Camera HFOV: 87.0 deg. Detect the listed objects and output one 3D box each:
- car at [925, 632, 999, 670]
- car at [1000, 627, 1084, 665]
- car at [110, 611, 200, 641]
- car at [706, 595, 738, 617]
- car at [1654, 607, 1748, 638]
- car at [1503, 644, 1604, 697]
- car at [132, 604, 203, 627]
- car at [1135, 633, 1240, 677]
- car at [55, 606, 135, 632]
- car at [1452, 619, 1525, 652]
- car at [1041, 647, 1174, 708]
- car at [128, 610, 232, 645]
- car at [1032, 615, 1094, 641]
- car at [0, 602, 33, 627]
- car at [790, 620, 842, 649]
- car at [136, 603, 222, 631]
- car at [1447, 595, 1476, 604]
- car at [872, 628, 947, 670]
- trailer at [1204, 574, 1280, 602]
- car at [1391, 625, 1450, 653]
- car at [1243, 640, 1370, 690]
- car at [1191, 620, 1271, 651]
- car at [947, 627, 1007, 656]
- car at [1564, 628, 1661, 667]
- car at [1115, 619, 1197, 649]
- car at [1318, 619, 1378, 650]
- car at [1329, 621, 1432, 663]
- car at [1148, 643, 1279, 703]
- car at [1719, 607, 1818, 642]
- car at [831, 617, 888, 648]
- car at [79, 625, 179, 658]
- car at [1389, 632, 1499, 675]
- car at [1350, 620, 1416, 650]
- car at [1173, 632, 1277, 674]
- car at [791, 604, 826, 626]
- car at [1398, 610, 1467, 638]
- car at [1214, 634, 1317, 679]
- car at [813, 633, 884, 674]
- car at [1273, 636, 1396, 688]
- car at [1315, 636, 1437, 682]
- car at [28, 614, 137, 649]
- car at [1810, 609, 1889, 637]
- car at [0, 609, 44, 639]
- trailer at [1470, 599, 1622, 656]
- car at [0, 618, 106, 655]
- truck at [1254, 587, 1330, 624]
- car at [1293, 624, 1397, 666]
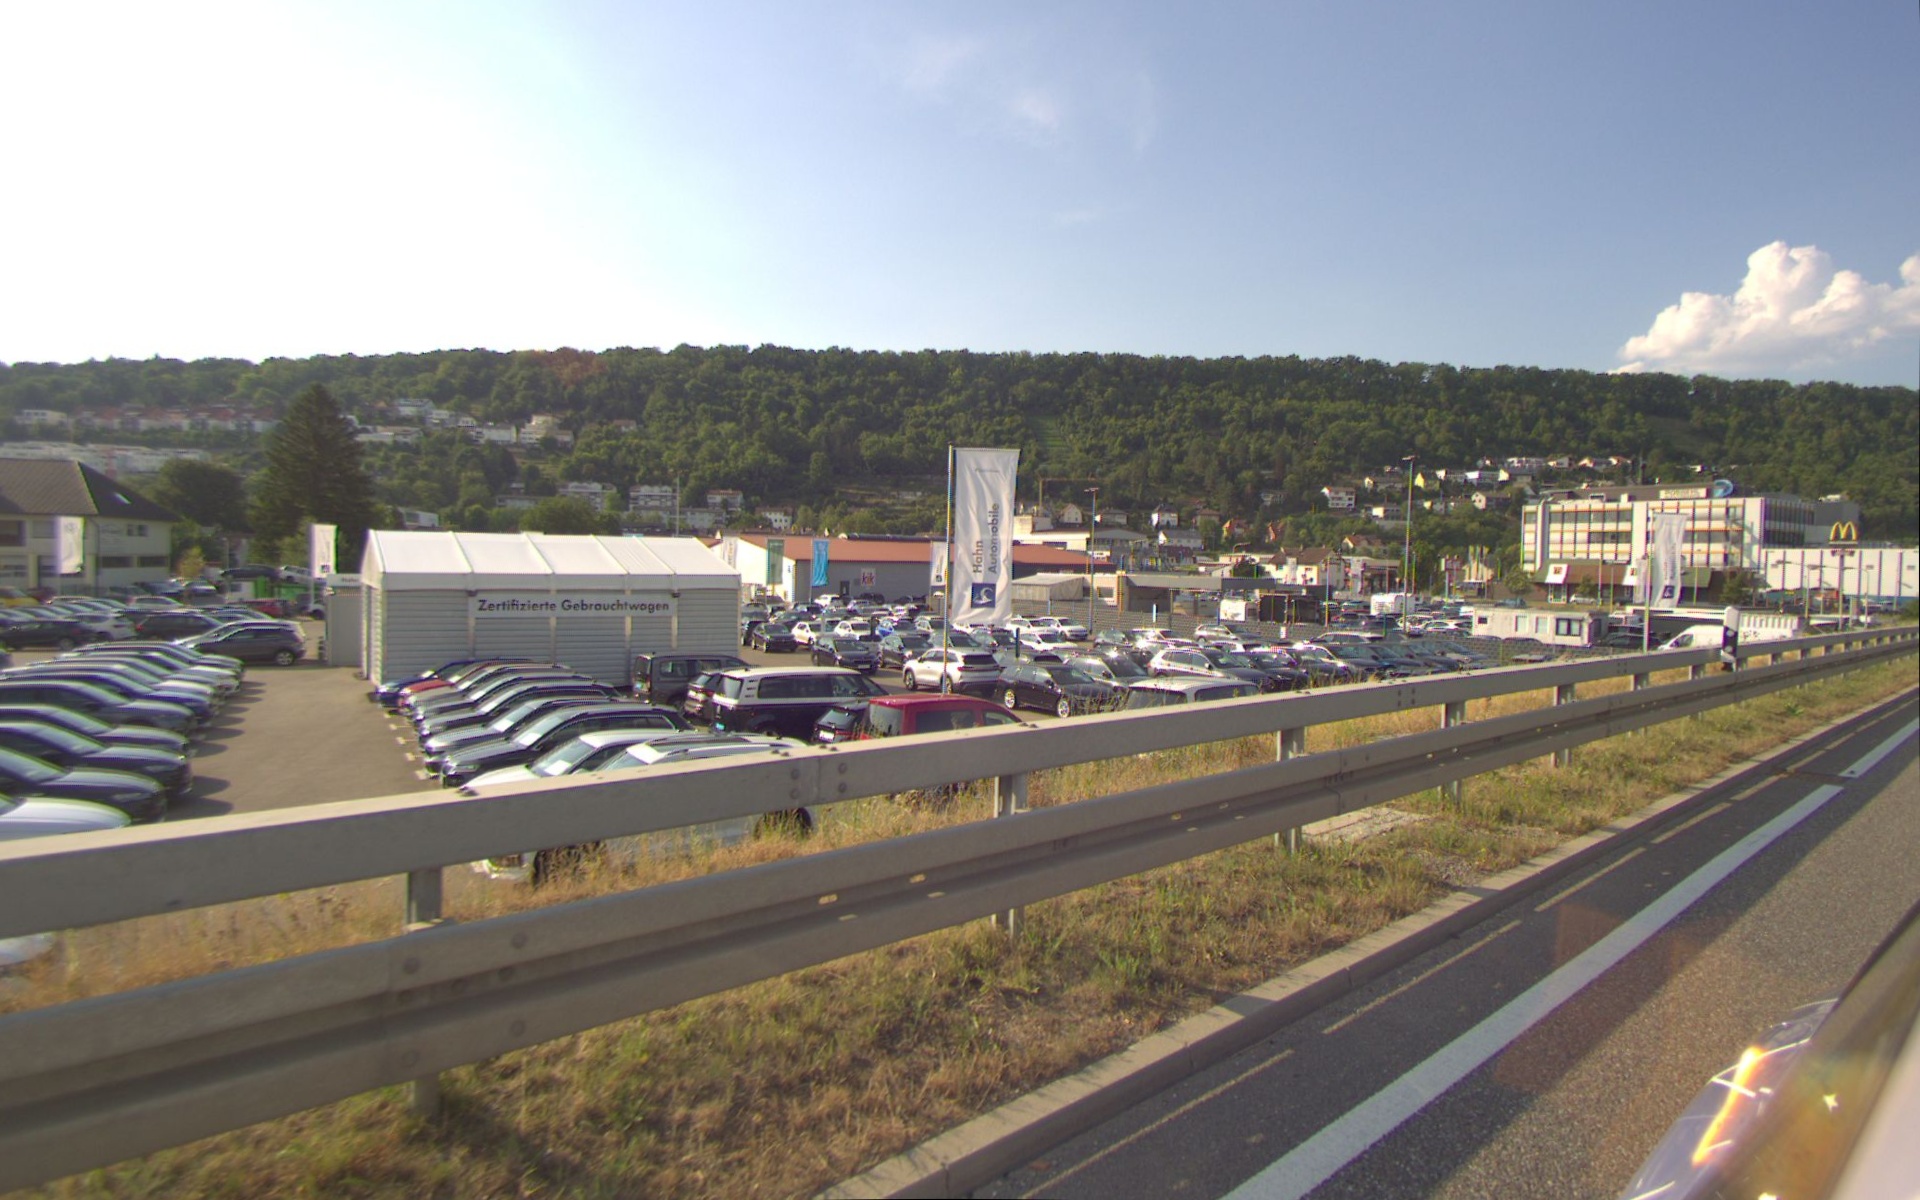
[{"bbox_3d":[0.041,2.304,46.243,1.745,1.474,4.005,0,1,-28],"label":"car"},{"bbox_3d":[3.951,2.193,49.315,1.766,1.563,4.435,0,1,-33],"label":"car"},{"bbox_3d":[-46.315,1.477,58.309,3.700,1.597,1.756,0,0,-18],"label":"car"},{"bbox_3d":[-19.662,0.505,83.448,1.958,1.738,4.008,1,0,-23],"label":"car"},{"bbox_3d":[45.829,1.374,62.678,2.092,1.772,4.332,0,1,-38],"label":"car"},{"bbox_3d":[21.691,2.519,36.943,4.354,1.563,1.798,-1,1,-40],"label":"car"},{"bbox_3d":[-57.027,1.113,72.876,3.701,1.597,1.756,0,0,-24],"label":"car"},{"bbox_3d":[9.622,2.311,43.131,1.766,1.563,4.435,0,1,-33],"label":"car"},{"bbox_3d":[-57.170,1.237,66.960,3.701,1.597,1.756,0,0,-24],"label":"car"},{"bbox_3d":[30.859,2.014,59.053,4.411,1.722,1.972,-1,1,-35],"label":"car"},{"bbox_3d":[4.671,2.430,32.633,1.765,1.628,4.435,2,0,-33],"label":"car"},{"bbox_3d":[-38.203,1.343,49.659,3.700,1.597,1.756,0,0,-18],"label":"car"},{"bbox_3d":[6.702,1.813,66.245,1.766,1.563,4.348,0,1,-33],"label":"car"},{"bbox_3d":[-61.872,0.923,64.545,3.701,1.597,1.756,0,0,-20],"label":"car"},{"bbox_3d":[-8.223,1.917,57.385,1.677,1.482,4.005,0,1,-28],"label":"car"},{"bbox_3d":[-46.762,0.993,60.652,3.700,1.597,1.756,0,0,-18],"label":"car"},{"bbox_3d":[76.035,-0.068,153.376,1.658,1.438,3.653,0,1,-35],"label":"car"},{"bbox_3d":[-2.284,2.140,45.091,1.746,1.584,4.005,0,1,-29],"label":"car"},{"bbox_3d":[20.717,-0.883,74.229,6.165,2.048,2.000,-1,1,-36],"label":"trailer"},{"bbox_3d":[28.379,2.370,62.294,3.817,1.583,1.602,0,0,-35],"label":"car"},{"bbox_3d":[13.056,2.399,38.394,1.766,1.563,4.435,0,1,-33],"label":"car"},{"bbox_3d":[15.493,1.999,58.147,1.766,1.563,4.435,0,1,-33],"label":"car"},{"bbox_3d":[1.029,2.534,62.248,1.764,1.563,4.351,0,1,-29],"label":"car"},{"bbox_3d":[37.472,2.684,58.251,4.533,2.039,1.881,0,0,30],"label":"car"},{"bbox_3d":[10.420,1.764,54.113,1.766,1.386,4.435,0,1,-33],"label":"car"},{"bbox_3d":[23.659,2.083,61.683,3.817,1.722,1.602,0,0,-35],"label":"car"},{"bbox_3d":[20.489,2.016,49.510,1.766,1.735,4.435,0,1,-33],"label":"car"},{"bbox_3d":[8.749,2.477,35.270,1.806,1.688,4.435,0,1,-33],"label":"car"},{"bbox_3d":[44.562,1.298,55.857,1.867,1.772,3.996,0,1,-38],"label":"car"},{"bbox_3d":[-5.862,1.839,58.634,1.764,1.563,4.351,0,1,-29],"label":"car"},{"bbox_3d":[-43.719,2.172,53.342,3.700,1.597,1.756,0,0,-18],"label":"car"},{"bbox_3d":[20.900,2.271,43.809,1.754,1.563,3.984,0,1,-37],"label":"car"},{"bbox_3d":[24.887,2.034,59.483,4.204,1.614,1.602,-1,0,-35],"label":"car"},{"bbox_3d":[11.669,2.288,44.822,1.766,1.563,4.435,0,1,-33],"label":"car"},{"bbox_3d":[-12.914,1.241,86.199,1.958,1.738,4.008,1,0,-23],"label":"car"},{"bbox_3d":[33.119,1.654,71.006,1.772,1.677,4.000,0,3,-37],"label":"car"},{"bbox_3d":[13.965,2.532,46.478,1.766,1.735,4.435,0,1,-33],"label":"car"},{"bbox_3d":[-4.841,2.269,43.395,1.677,1.482,4.005,0,1,-28],"label":"car"},{"bbox_3d":[14.753,2.390,40.097,1.766,1.735,4.435,0,1,-33],"label":"car"},{"bbox_3d":[16.974,2.345,41.456,1.766,1.563,4.435,0,1,-33],"label":"car"},{"bbox_3d":[-43.399,1.527,50.130,3.700,1.597,1.756,0,0,-18],"label":"car"},{"bbox_3d":[63.406,1.590,72.171,1.802,1.838,3.996,0,1,-39],"label":"car"},{"bbox_3d":[-53.211,1.340,55.776,3.701,1.597,1.756,0,0,-24],"label":"car"},{"bbox_3d":[37.811,1.658,65.596,3.295,3.364,7.904,0,1,-36],"label":"trailer"},{"bbox_3d":[-42.447,1.669,47.104,3.700,1.597,1.756,0,0,-18],"label":"car"},{"bbox_3d":[22.616,0.343,68.865,5.860,2.400,1.999,-1,0,-38],"label":"truck"},{"bbox_3d":[18.144,2.060,47.854,1.766,1.735,4.435,0,1,-33],"label":"car"}]
